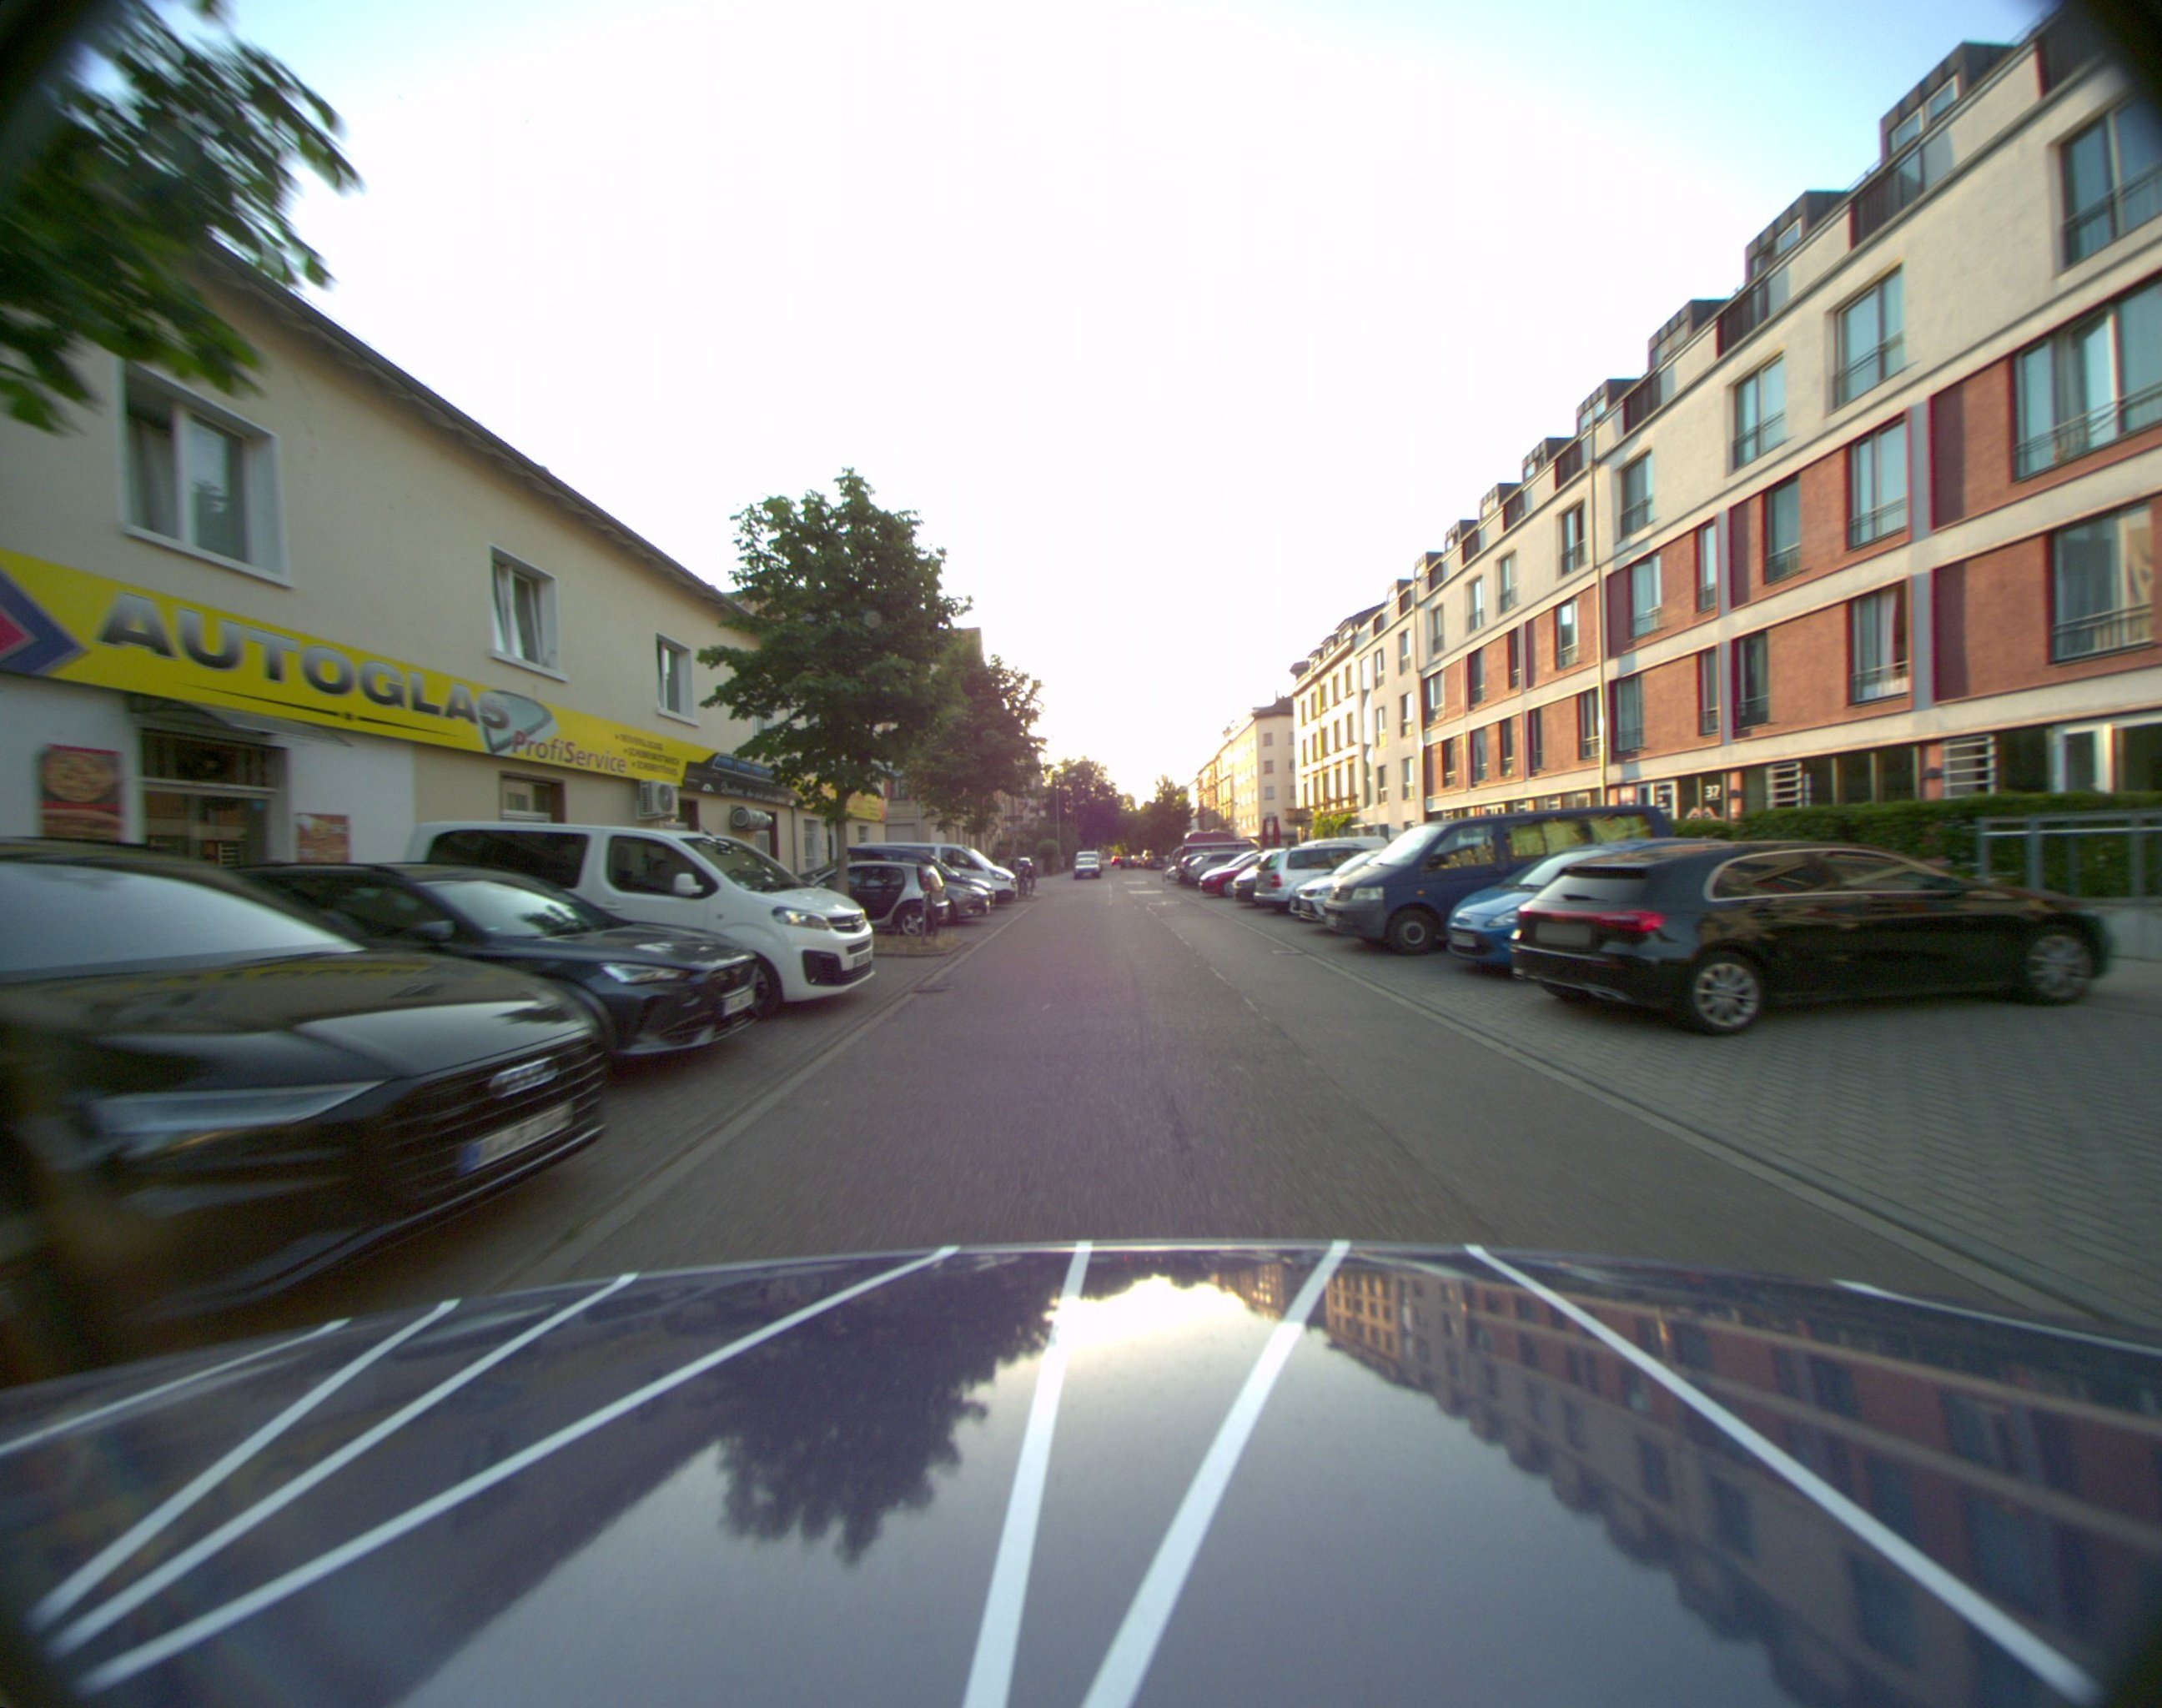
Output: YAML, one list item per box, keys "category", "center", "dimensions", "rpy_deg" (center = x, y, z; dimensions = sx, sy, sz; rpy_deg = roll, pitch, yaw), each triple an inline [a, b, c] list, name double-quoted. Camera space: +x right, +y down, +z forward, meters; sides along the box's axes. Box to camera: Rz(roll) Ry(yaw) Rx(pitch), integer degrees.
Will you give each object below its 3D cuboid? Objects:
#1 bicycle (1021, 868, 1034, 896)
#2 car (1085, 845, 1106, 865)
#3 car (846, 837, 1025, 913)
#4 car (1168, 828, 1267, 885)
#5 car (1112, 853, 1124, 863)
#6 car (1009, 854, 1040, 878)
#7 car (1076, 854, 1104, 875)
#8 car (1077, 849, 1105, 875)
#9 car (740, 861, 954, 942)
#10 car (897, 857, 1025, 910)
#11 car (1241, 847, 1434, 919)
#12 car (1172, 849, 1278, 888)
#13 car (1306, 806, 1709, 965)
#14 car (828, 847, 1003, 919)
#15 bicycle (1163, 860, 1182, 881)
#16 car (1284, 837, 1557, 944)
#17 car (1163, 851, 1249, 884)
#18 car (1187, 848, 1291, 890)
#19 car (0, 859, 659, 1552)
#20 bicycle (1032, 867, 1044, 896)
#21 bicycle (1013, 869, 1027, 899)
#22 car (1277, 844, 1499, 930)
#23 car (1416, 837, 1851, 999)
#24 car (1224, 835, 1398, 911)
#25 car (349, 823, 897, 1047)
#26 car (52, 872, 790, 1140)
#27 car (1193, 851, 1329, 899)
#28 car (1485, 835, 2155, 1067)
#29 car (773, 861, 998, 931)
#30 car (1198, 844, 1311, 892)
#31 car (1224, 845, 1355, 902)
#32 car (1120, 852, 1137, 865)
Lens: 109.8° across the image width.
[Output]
- category: "bicycle"
  center: [-2.121, 1.094, 30.386]
  dimensions: [0.357, 1.018, 1.971]
  rpy_deg: [-2, 0, -1]
- category: "car"
  center: [1.465, 0.076, 77.857]
  dimensions: [1.999, 2.002, 3.999]
  rpy_deg: [-2, 0, -1]
- category: "car"
  center: [-4.392, 0.611, 23.494]
  dimensions: [4.971, 2.089, 2.151]
  rpy_deg: [-2, 2, 5]
- category: "car"
  center: [6.490, 0.117, 36.585]
  dimensions: [4.412, 2.542, 1.932]
  rpy_deg: [-2, 1, 2]
- category: "car"
  center: [6.194, 0.656, 127.626]
  dimensions: [1.890, 1.513, 4.000]
  rpy_deg: [-2, 0, 1]
- category: "car"
  center: [-3.865, 0.763, 52.257]
  dimensions: [1.800, 1.515, 3.999]
  rpy_deg: [-2, 0, -1]
- category: "car"
  center: [0.579, 0.692, 51.889]
  dimensions: [1.733, 1.367, 3.762]
  rpy_deg: [-2, 0, -1]
- category: "car"
  center: [0.741, 0.577, 57.645]
  dimensions: [1.939, 1.893, 4.055]
  rpy_deg: [-2, 0, -1]
- category: "car"
  center: [-4.613, 0.914, 15.387]
  dimensions: [3.795, 1.488, 1.680]
  rpy_deg: [1, 0, -1]
- category: "car"
  center: [-4.052, 0.987, 26.165]
  dimensions: [4.042, 1.557, 1.722]
  rpy_deg: [-2, 1, 1]
- category: "car"
  center: [6.230, 0.660, 18.747]
  dimensions: [4.000, 1.579, 2.052]
  rpy_deg: [-1, 0, -8]
- category: "car"
  center: [6.355, 0.618, 33.876]
  dimensions: [4.347, 1.515, 1.706]
  rpy_deg: [-3, 1, 1]
- category: "car"
  center: [6.132, 0.445, 11.447]
  dimensions: [4.866, 2.043, 2.000]
  rpy_deg: [-2, 0, 3]
- category: "car"
  center: [-4.435, 0.746, 20.843]
  dimensions: [4.301, 1.847, 2.000]
  rpy_deg: [0, 0, 4]
- category: "bicycle"
  center: [5.186, 0.914, 43.123]
  dimensions: [0.805, 1.047, 2.415]
  rpy_deg: [-4, 0, 3]
- category: "car"
  center: [6.116, 0.632, 14.094]
  dimensions: [4.195, 1.713, 1.902]
  rpy_deg: [-2, 0, 2]
- category: "car"
  center: [6.385, 0.676, 39.112]
  dimensions: [3.989, 1.408, 1.803]
  rpy_deg: [-3, 1, -5]
- category: "car"
  center: [6.484, 0.610, 31.517]
  dimensions: [3.958, 1.531, 1.755]
  rpy_deg: [-3, 1, 3]
- category: "car"
  center: [-4.599, 0.877, 3.027]
  dimensions: [4.705, 1.622, 2.000]
  rpy_deg: [2, 0, 3]
- category: "bicycle"
  center: [-1.701, 1.085, 30.335]
  dimensions: [0.357, 1.093, 1.971]
  rpy_deg: [-2, 0, -1]
- category: "bicycle"
  center: [-2.275, 1.100, 28.319]
  dimensions: [0.357, 1.018, 1.785]
  rpy_deg: [-2, 0, -1]
- category: "car"
  center: [6.459, 0.664, 16.289]
  dimensions: [3.998, 1.608, 1.797]
  rpy_deg: [-2, 0, -2]
- category: "car"
  center: [6.281, 0.672, 8.926]
  dimensions: [3.894, 1.484, 1.653]
  rpy_deg: [-3, 1, -2]
- category: "car"
  center: [6.296, 0.503, 21.093]
  dimensions: [4.189, 1.884, 1.897]
  rpy_deg: [-2, 0, -2]
- category: "car"
  center: [-4.566, 0.743, 8.126]
  dimensions: [4.598, 1.851, 2.012]
  rpy_deg: [3, 1, 2]
- category: "car"
  center: [-4.613, 0.984, 5.796]
  dimensions: [3.996, 1.487, 1.892]
  rpy_deg: [2, 1, 2]
- category: "car"
  center: [6.135, 0.699, 26.222]
  dimensions: [4.273, 1.485, 1.788]
  rpy_deg: [-2, 1, 2]
- category: "car"
  center: [6.008, 0.701, 6.507]
  dimensions: [4.150, 1.408, 1.738]
  rpy_deg: [-4, 1, -4]
- category: "car"
  center: [-4.429, 0.934, 17.790]
  dimensions: [4.733, 1.487, 2.000]
  rpy_deg: [0, 0, 0]
- category: "car"
  center: [6.546, 0.521, 28.966]
  dimensions: [3.895, 1.608, 1.700]
  rpy_deg: [-3, 1, 3]
- category: "car"
  center: [6.398, 0.590, 23.586]
  dimensions: [3.540, 1.554, 1.784]
  rpy_deg: [-3, 0, -1]
- category: "car"
  center: [5.589, 0.461, 89.440]
  dimensions: [1.762, 1.478, 3.783]
  rpy_deg: [0, 0, -1]
